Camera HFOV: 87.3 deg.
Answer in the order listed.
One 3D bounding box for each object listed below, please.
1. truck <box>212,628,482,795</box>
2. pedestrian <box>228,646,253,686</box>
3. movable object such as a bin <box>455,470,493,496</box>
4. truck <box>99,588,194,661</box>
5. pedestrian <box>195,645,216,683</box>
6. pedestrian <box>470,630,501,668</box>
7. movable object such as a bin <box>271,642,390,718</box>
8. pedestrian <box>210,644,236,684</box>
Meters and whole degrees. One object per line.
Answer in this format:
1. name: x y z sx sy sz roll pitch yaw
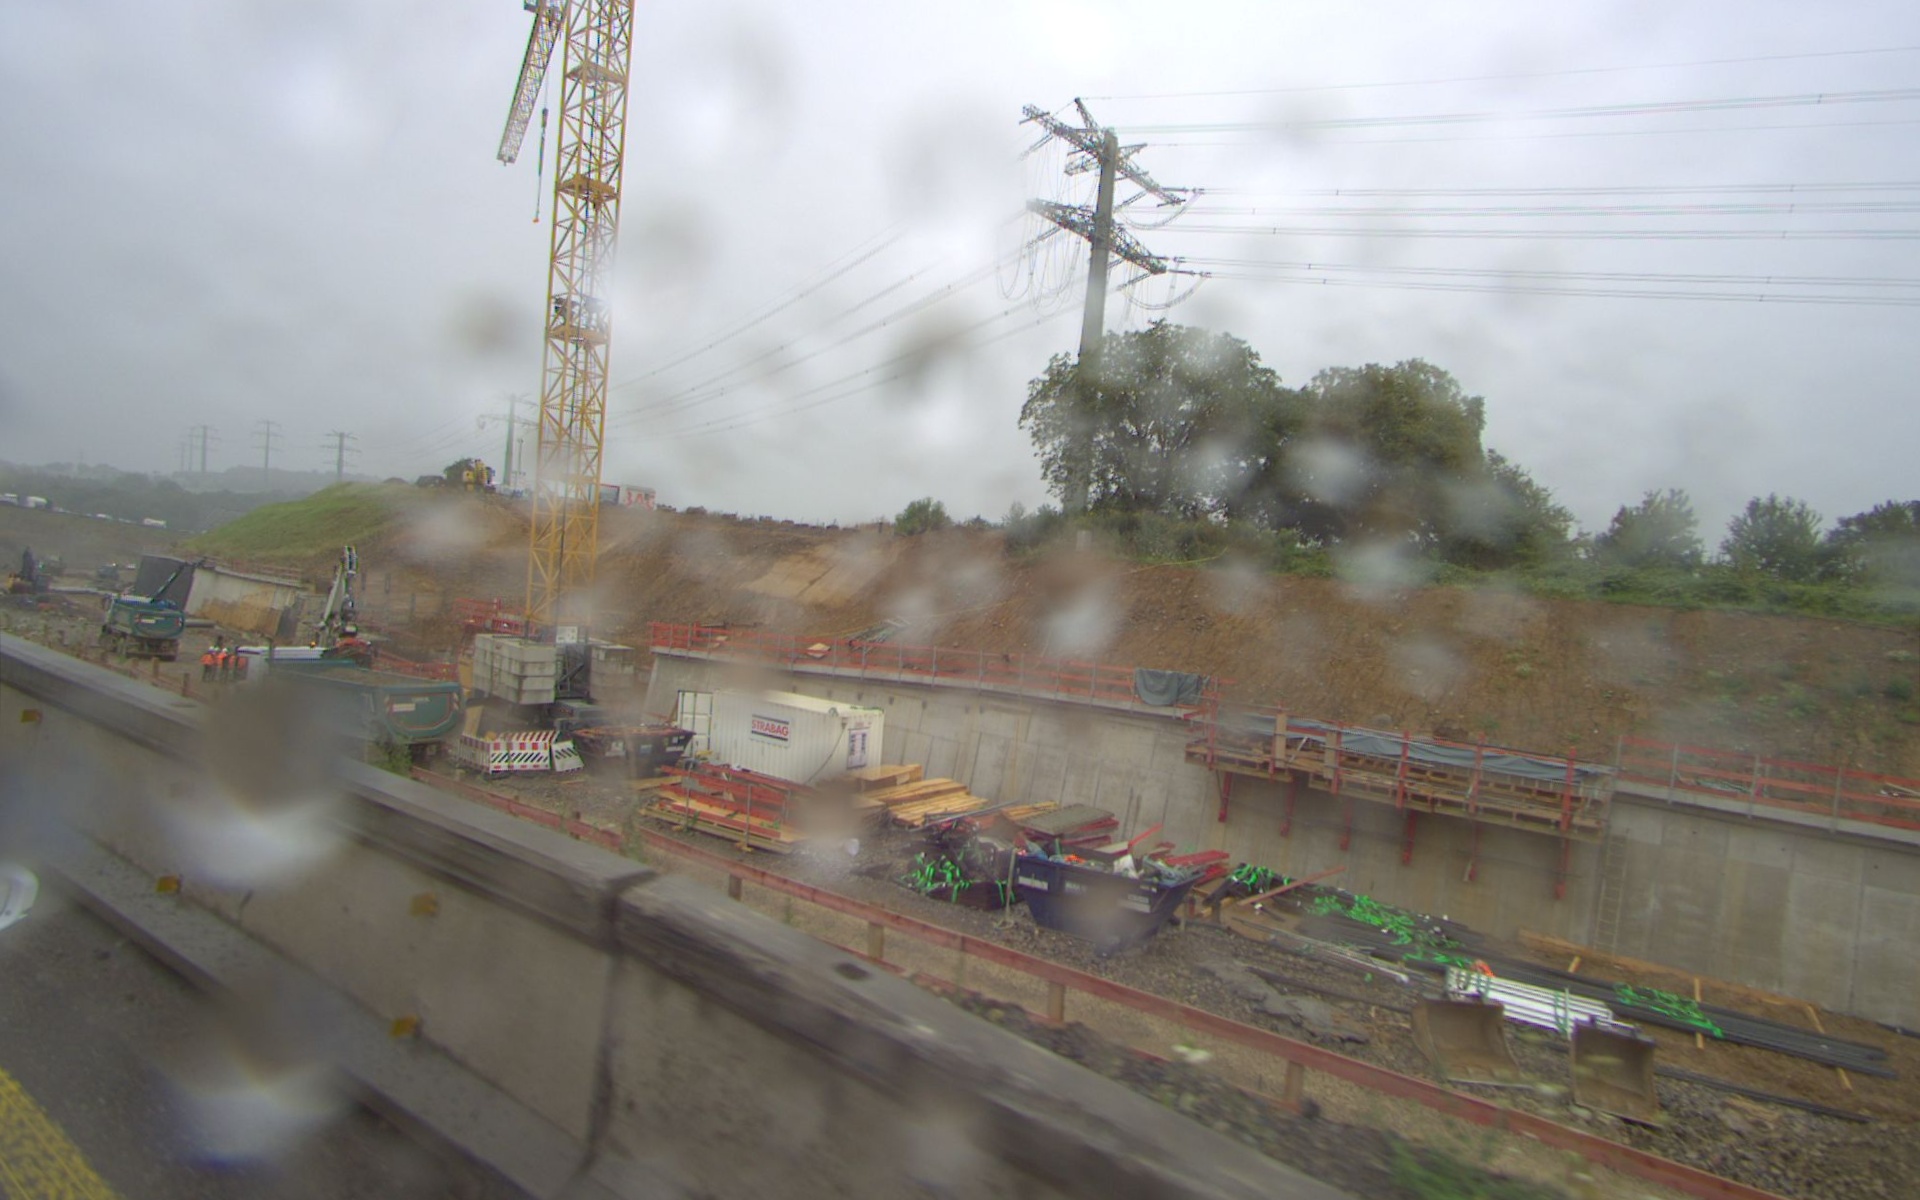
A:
1. truck: -18.494 3.145 30.136 8.795 3.545 2.705 6 -1 30
2. pedestrian: -37.534 3.434 52.512 0.724 1.967 0.573 7 0 -17
3. movable object such as a bin: -56.122 -13.542 116.142 3.914 2.473 2.425 8 0 43
4. truck: -50.523 1.446 62.366 8.936 3.532 2.728 6 -2 40
5. pedestrian: -39.234 3.316 52.323 0.725 1.892 0.572 6 0 42
6. pedestrian: -27.978 2.868 59.301 0.886 2.013 0.906 5 -11 40
7. movable object such as a bin: -26.472 3.389 42.350 2.922 2.770 3.152 6 -2 35
8. pedestrian: -38.334 3.328 52.313 0.721 1.967 0.576 6 0 7
